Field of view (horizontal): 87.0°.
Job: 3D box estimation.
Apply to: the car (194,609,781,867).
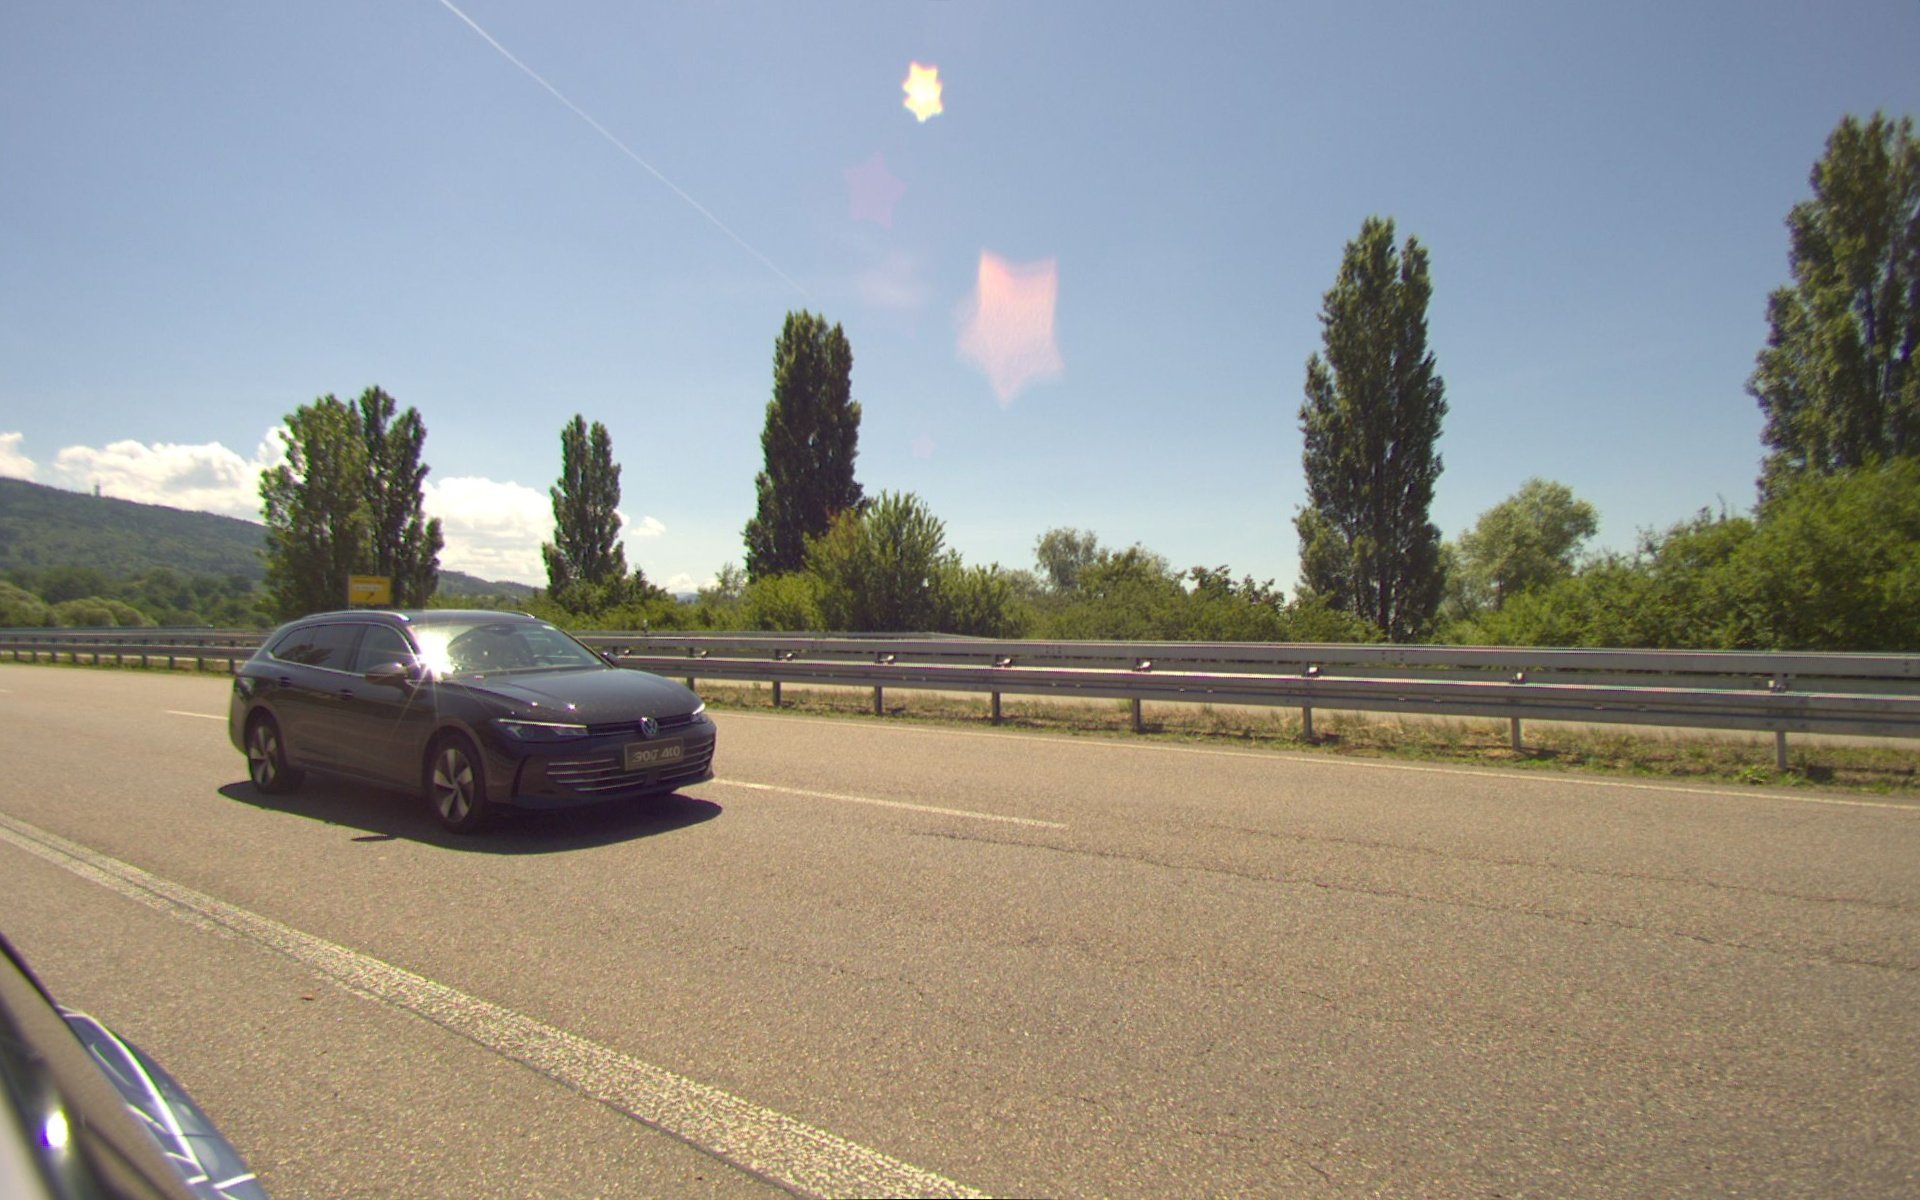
[{"bbox_3d":[-3.909,0.856,8.016,4.989,1.492,1.870,-1,-1,33],"label":"car"}]
